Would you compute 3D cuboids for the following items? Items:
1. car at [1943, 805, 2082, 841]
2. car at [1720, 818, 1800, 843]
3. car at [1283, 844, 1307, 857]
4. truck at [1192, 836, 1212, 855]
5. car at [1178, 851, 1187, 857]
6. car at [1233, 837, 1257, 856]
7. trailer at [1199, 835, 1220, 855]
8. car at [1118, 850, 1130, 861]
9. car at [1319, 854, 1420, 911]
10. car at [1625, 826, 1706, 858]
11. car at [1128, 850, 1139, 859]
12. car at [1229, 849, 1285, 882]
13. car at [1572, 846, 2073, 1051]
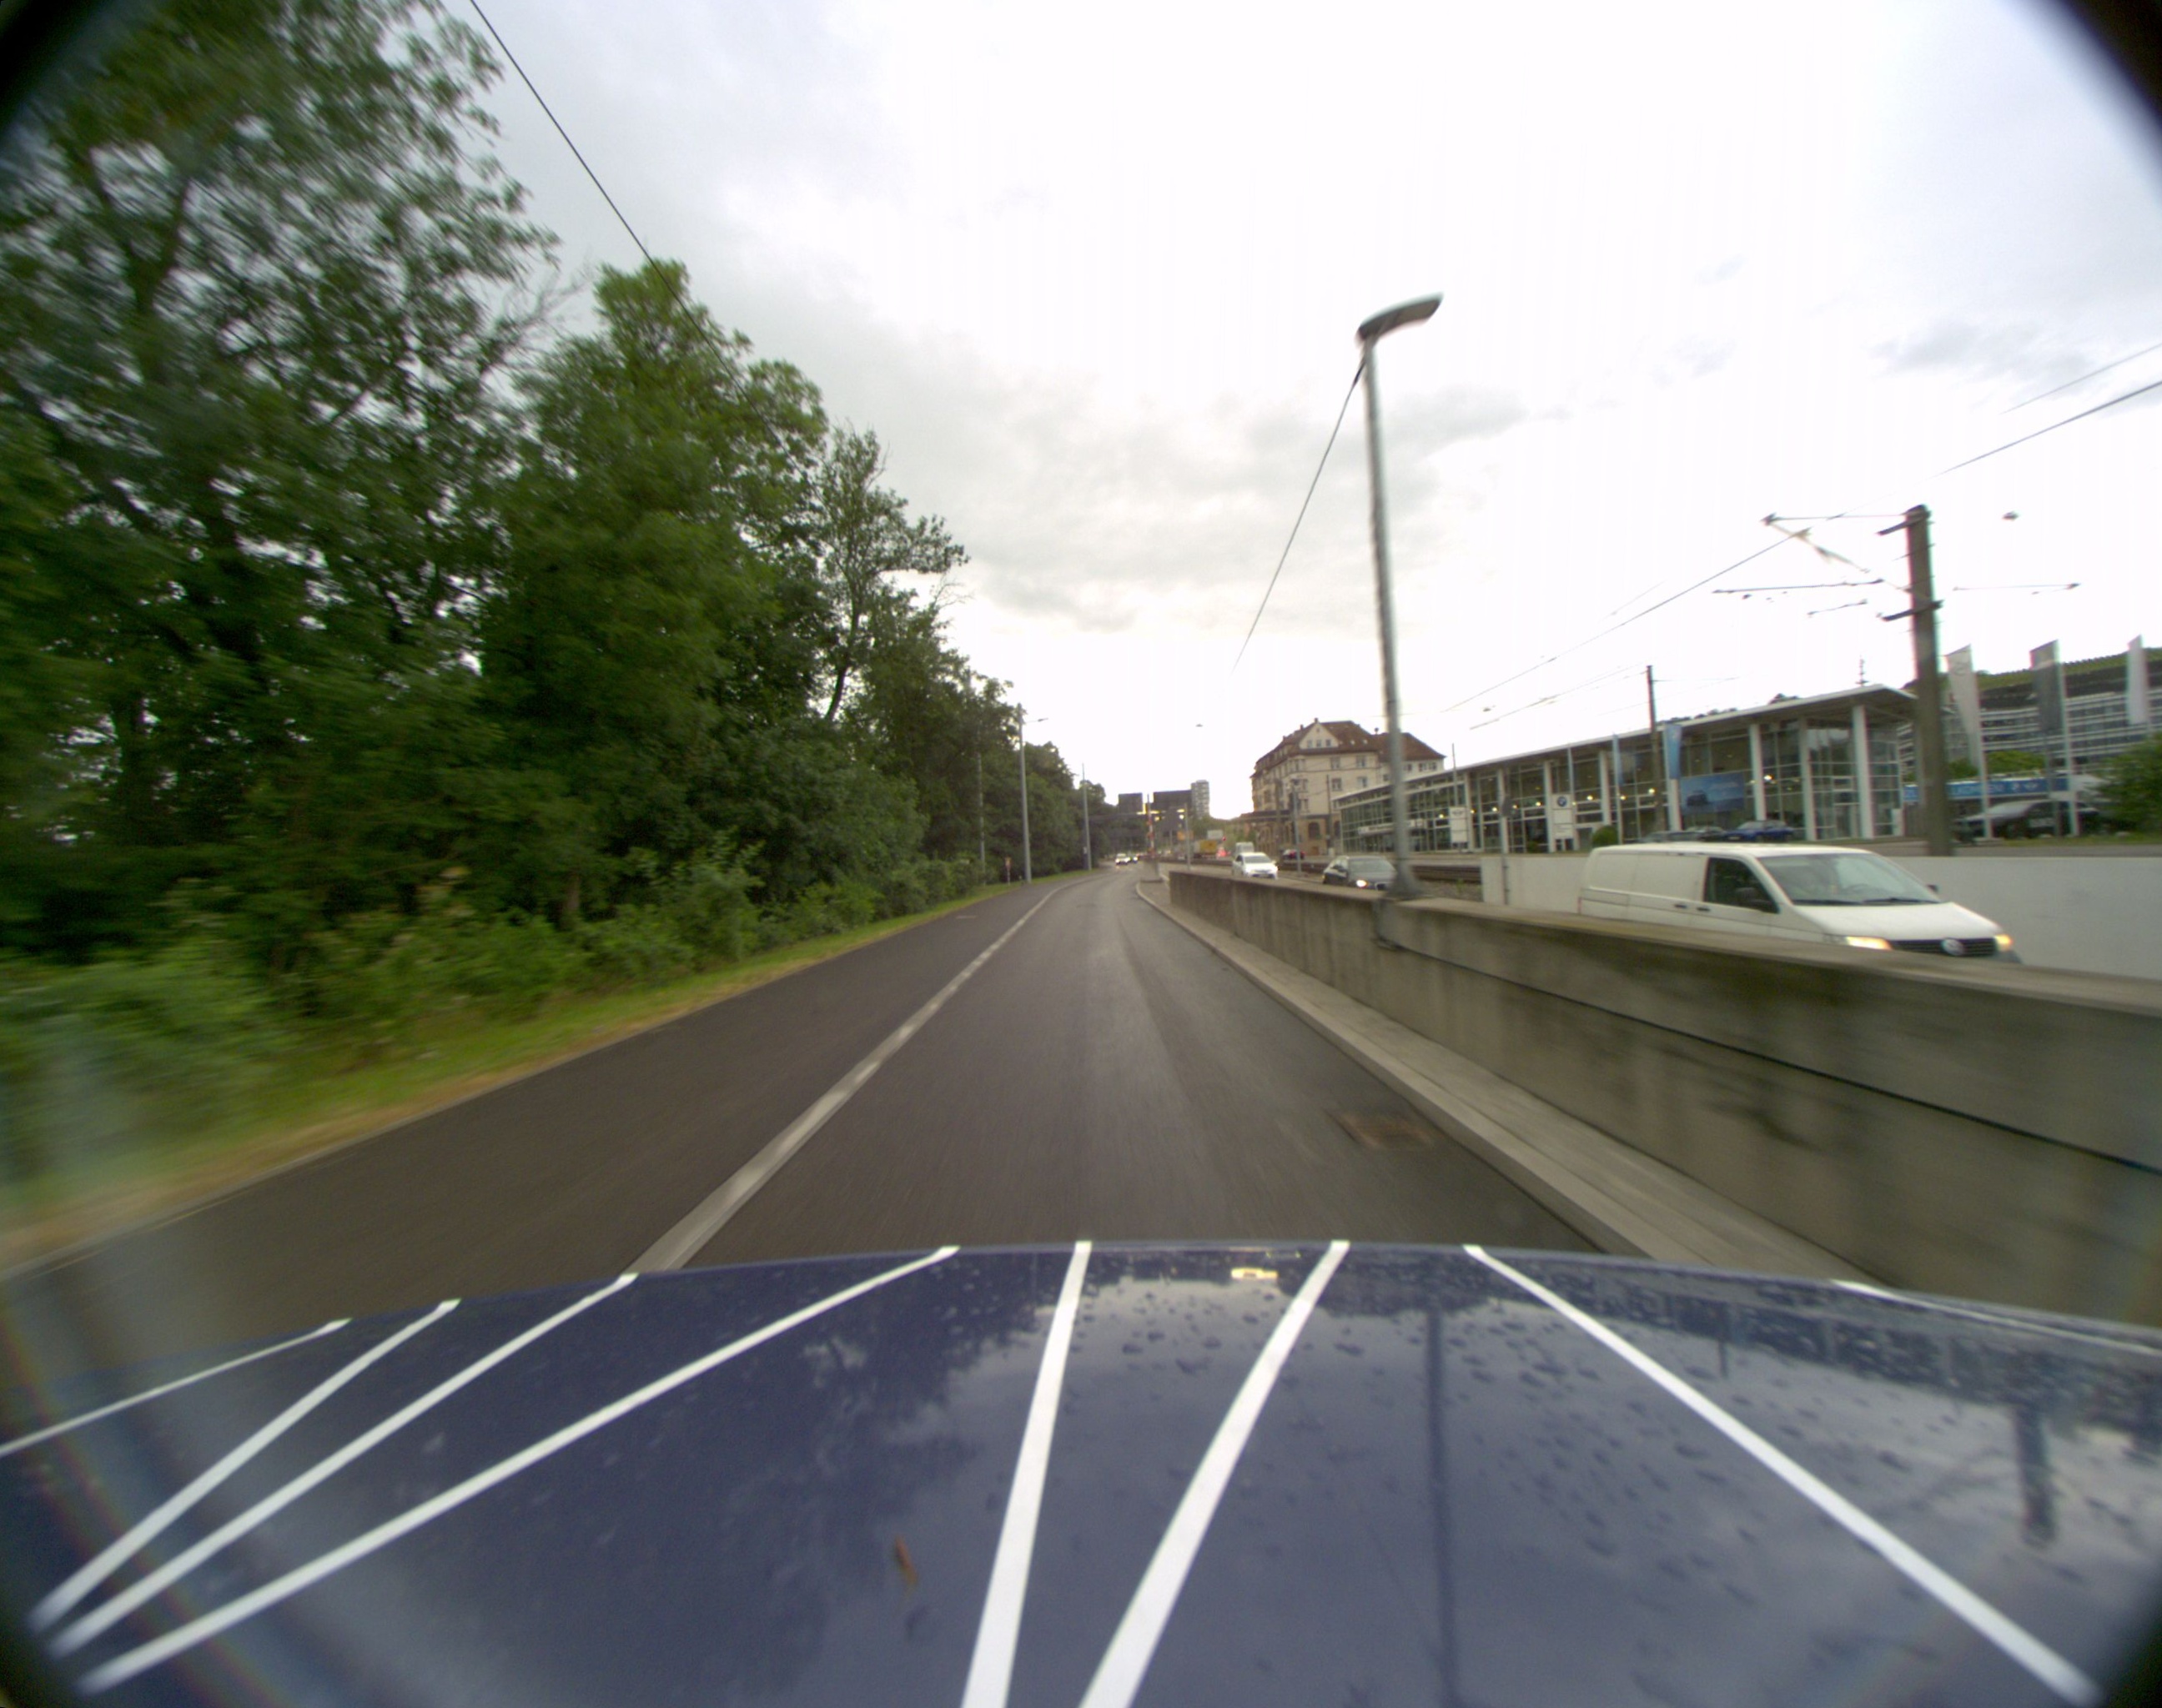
[{"bbox_3d":[39.177,-1.296,32.030,3.523,1.267,1.717,-3,1,5],"label":"car"},{"bbox_3d":[39.268,-1.345,43.948,4.003,1.228,1.758,-3,1,-20],"label":"car"},{"bbox_3d":[26.720,-0.474,94.849,1.746,1.507,4.340,-3,0,1],"label":"car"},{"bbox_3d":[27.460,-1.937,172.643,2.690,4.028,10.142,-2,0,0],"label":"truck"},{"bbox_3d":[30.631,0.037,228.770,1.998,1.863,5.193,-3,0,0],"label":"car"},{"bbox_3d":[23.618,-1.077,109.485,2.056,2.583,6.164,-3,0,0],"label":"car"},{"bbox_3d":[27.493,-1.870,163.036,2.690,4.028,9.082,-2,0,0],"label":"trailer"},{"bbox_3d":[6.756,0.272,120.160,1.710,1.585,4.000,-3,0,1],"label":"car"},{"bbox_3d":[8.933,0.831,23.851,1.708,1.564,3.896,-2,0,1],"label":"car"},{"bbox_3d":[25.934,-0.518,33.821,1.385,1.292,2.801,-4,0,0],"label":"car"},{"bbox_3d":[10.028,0.122,145.087,1.710,1.521,4.000,-3,0,1],"label":"car"},{"bbox_3d":[9.407,0.584,40.924,1.982,1.564,4.319,-2,0,1],"label":"car"},{"bbox_3d":[8.861,0.934,9.874,1.914,1.947,4.718,-3,0,1],"label":"car"}]
